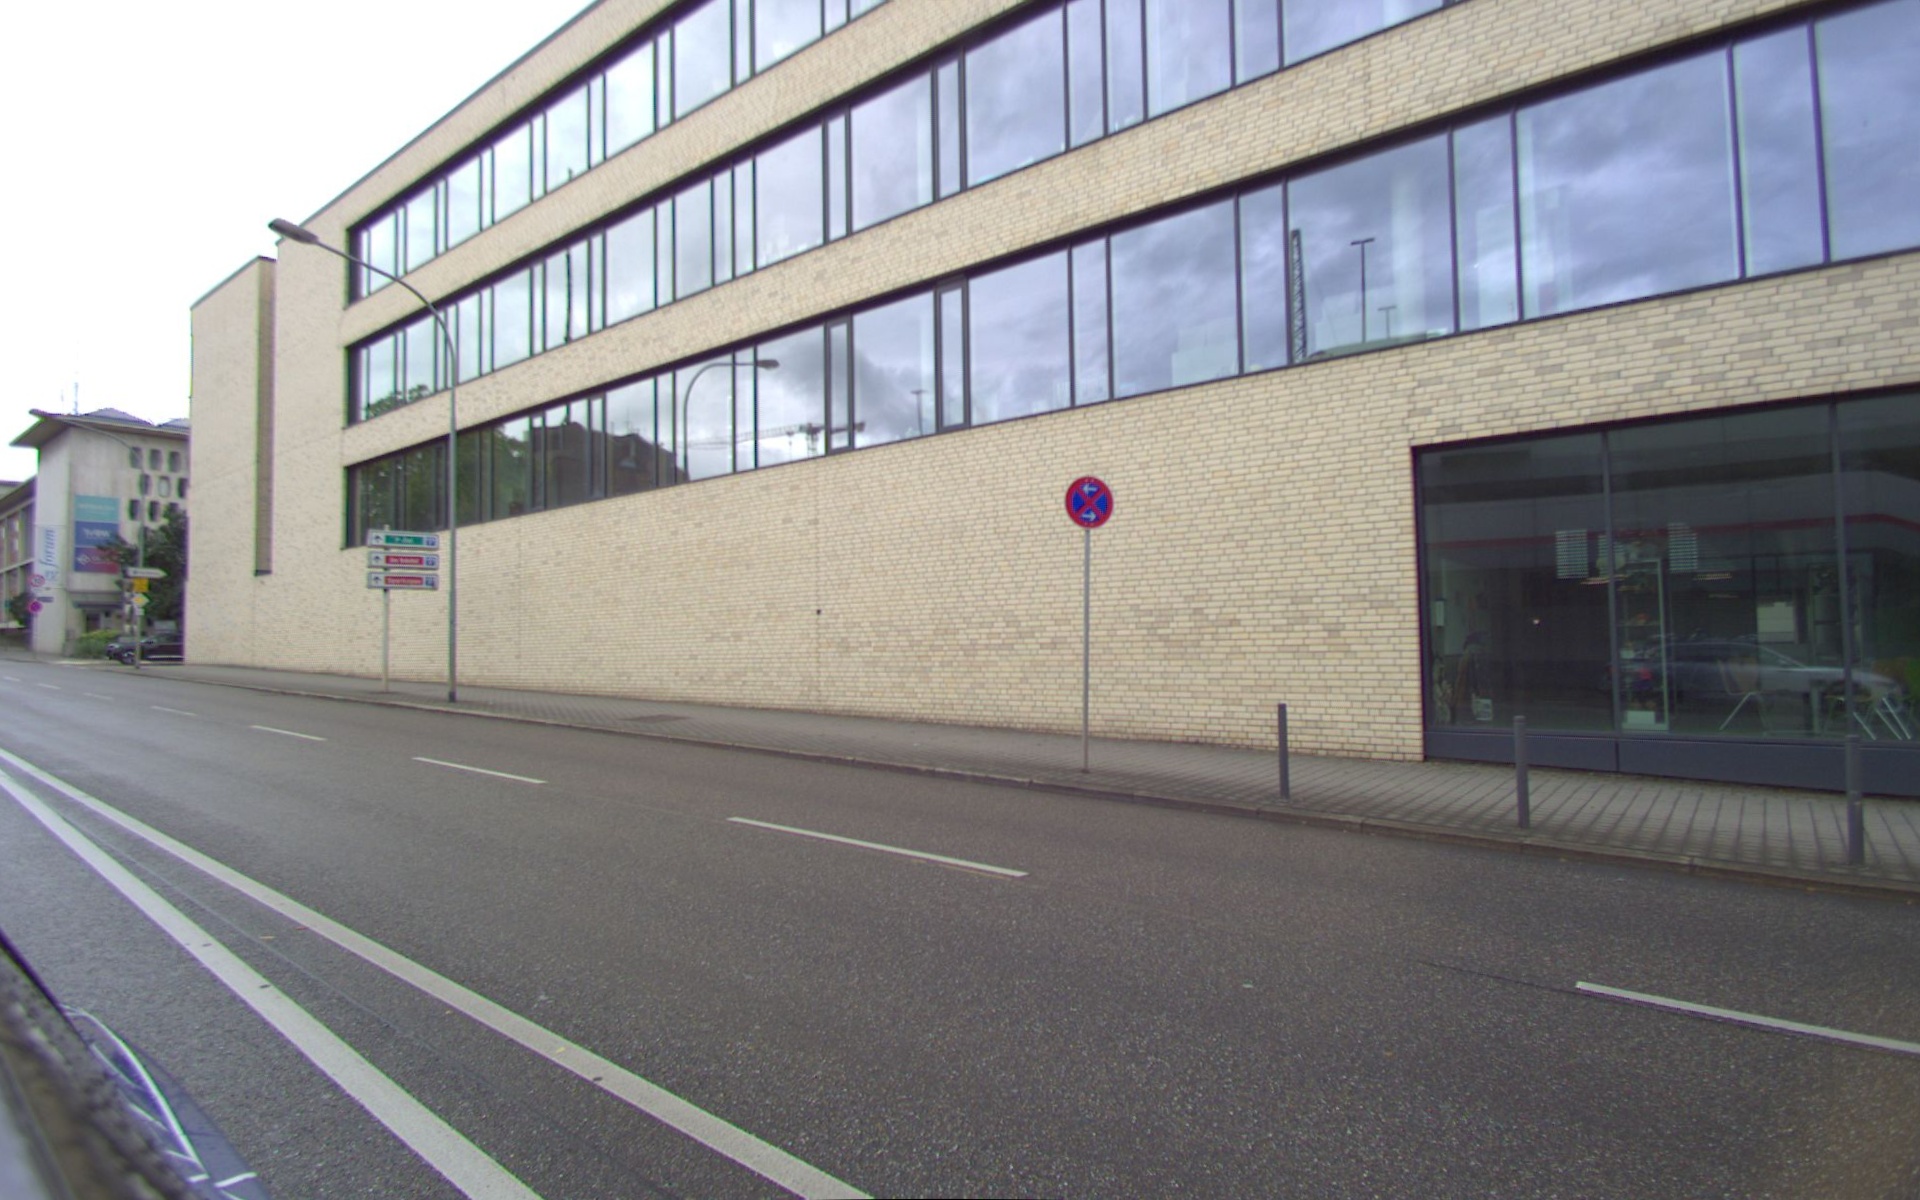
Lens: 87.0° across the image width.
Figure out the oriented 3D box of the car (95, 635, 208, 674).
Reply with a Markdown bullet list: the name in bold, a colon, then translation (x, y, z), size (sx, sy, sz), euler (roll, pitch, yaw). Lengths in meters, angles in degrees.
- **car**: translation (-37.366, 2.494, 46.912), size (3.933, 1.674, 1.866), euler (0, -1, -34)
